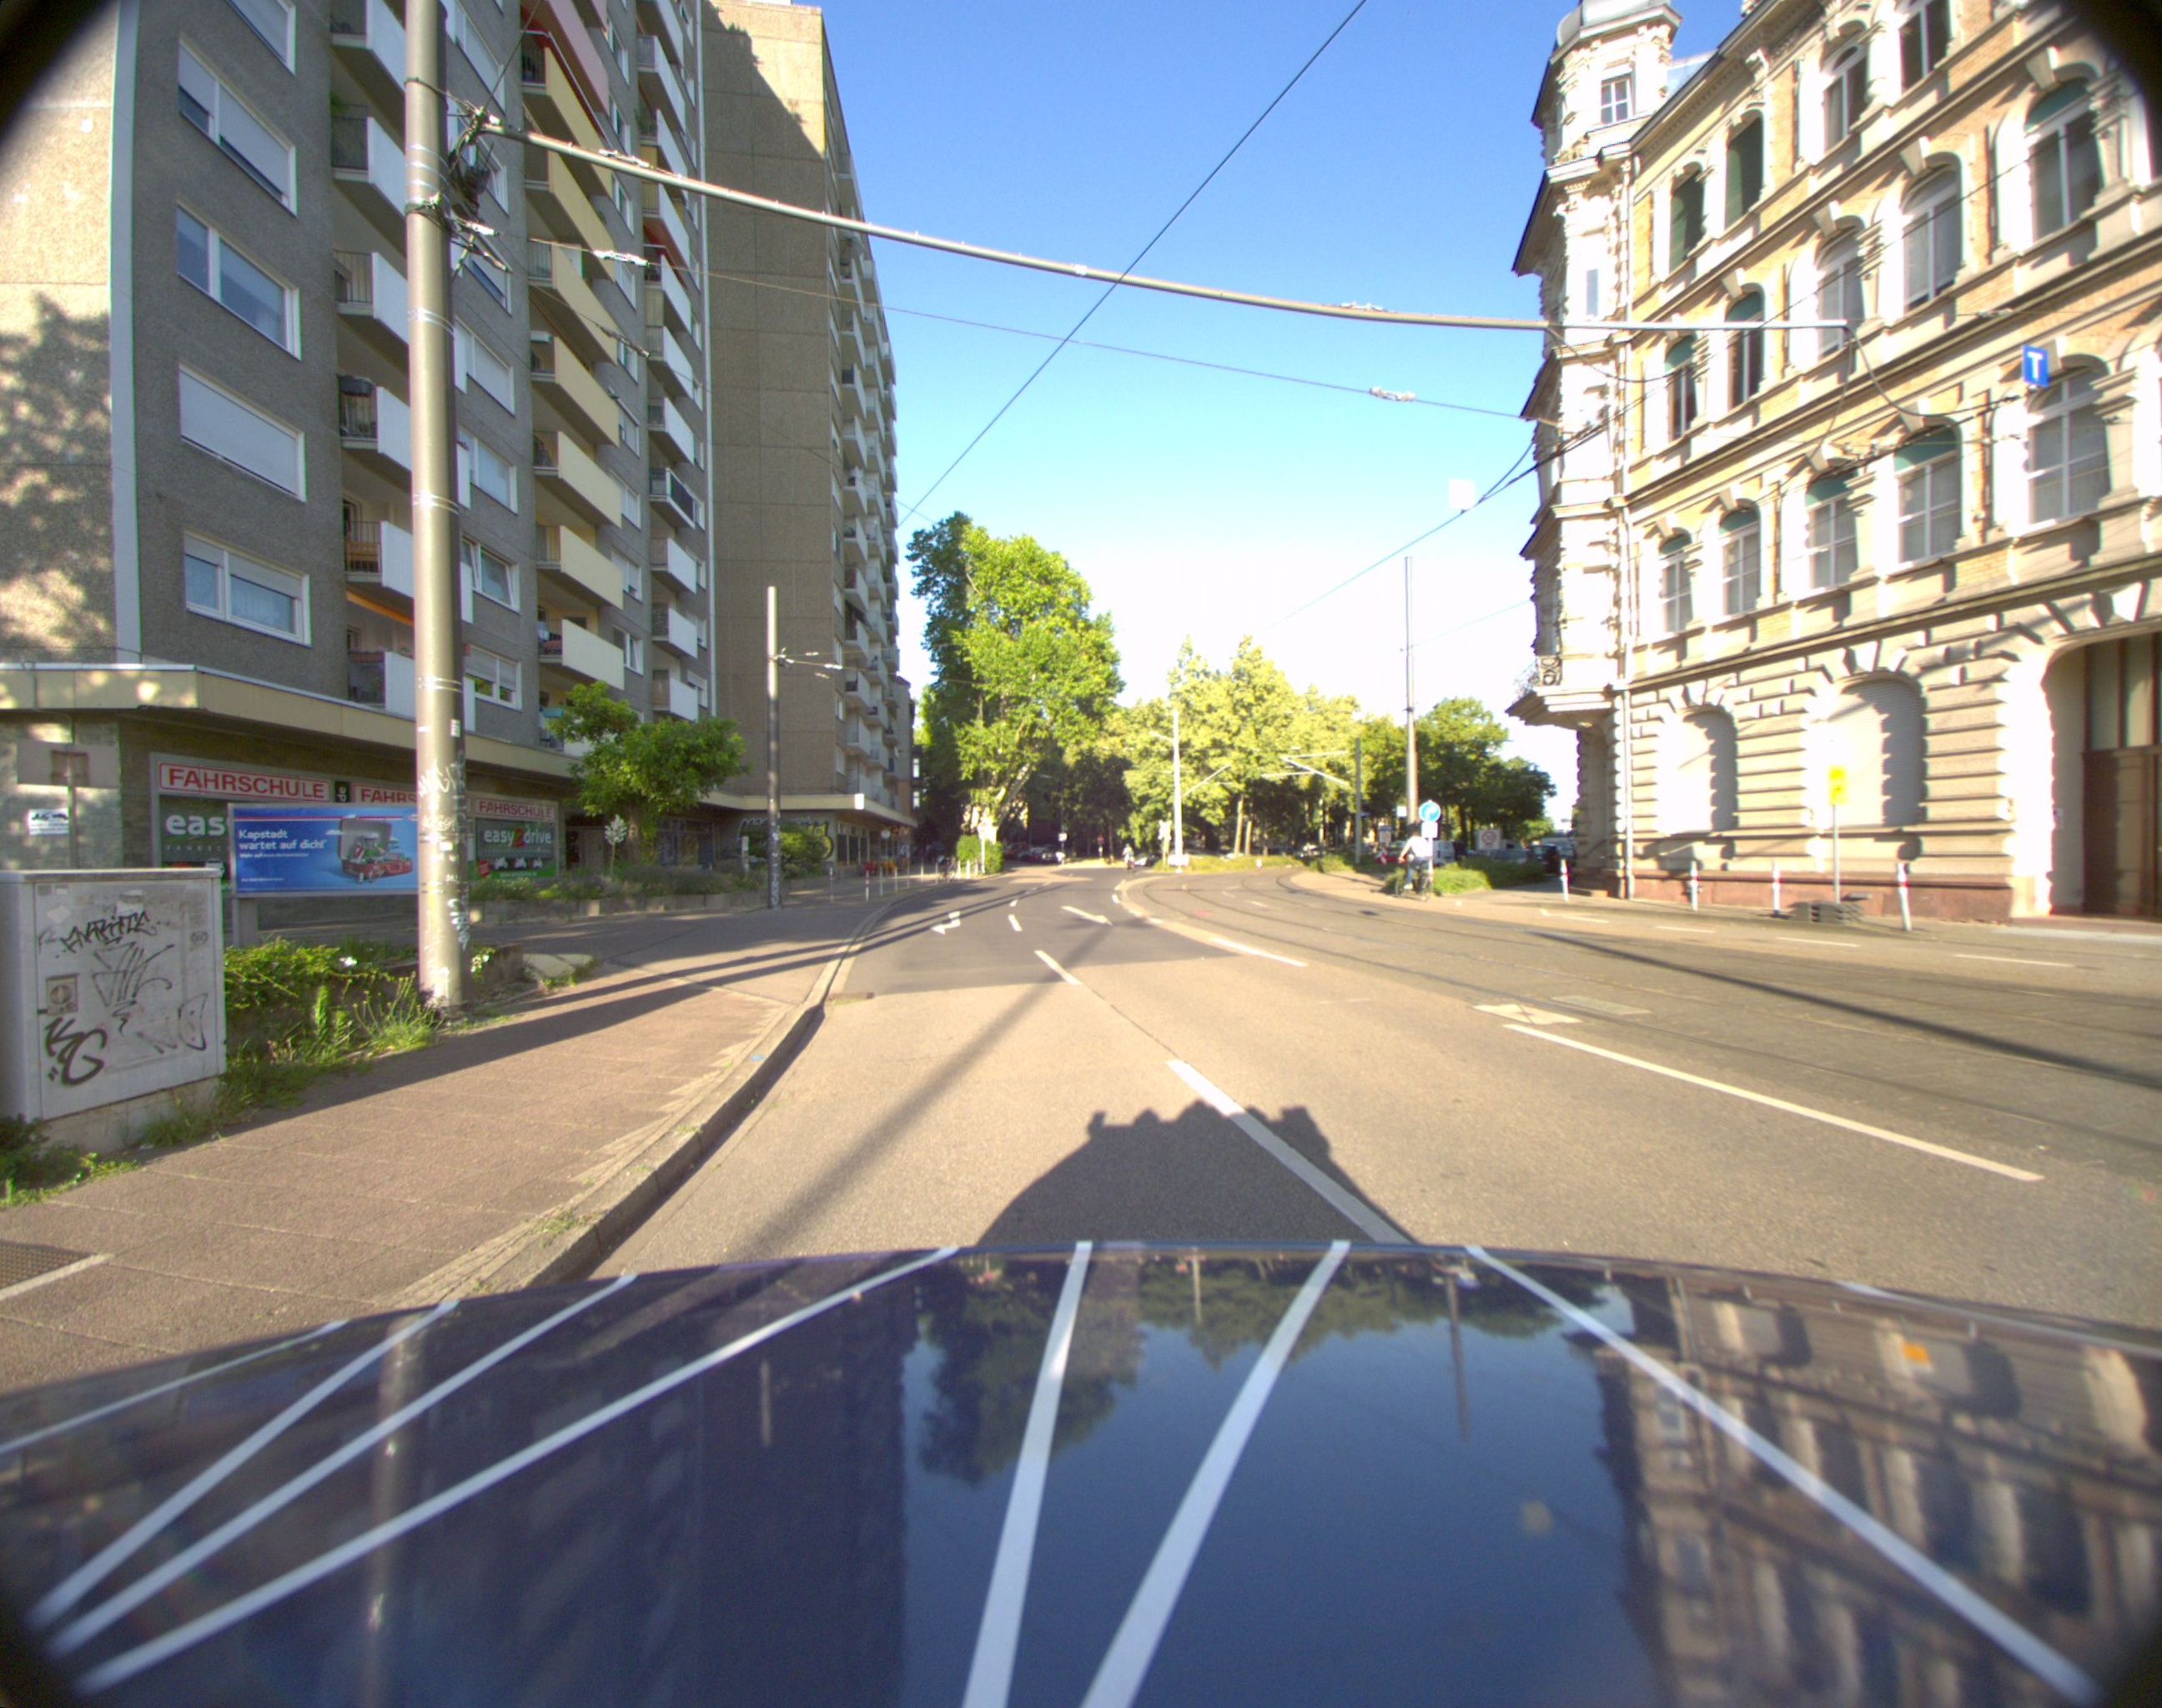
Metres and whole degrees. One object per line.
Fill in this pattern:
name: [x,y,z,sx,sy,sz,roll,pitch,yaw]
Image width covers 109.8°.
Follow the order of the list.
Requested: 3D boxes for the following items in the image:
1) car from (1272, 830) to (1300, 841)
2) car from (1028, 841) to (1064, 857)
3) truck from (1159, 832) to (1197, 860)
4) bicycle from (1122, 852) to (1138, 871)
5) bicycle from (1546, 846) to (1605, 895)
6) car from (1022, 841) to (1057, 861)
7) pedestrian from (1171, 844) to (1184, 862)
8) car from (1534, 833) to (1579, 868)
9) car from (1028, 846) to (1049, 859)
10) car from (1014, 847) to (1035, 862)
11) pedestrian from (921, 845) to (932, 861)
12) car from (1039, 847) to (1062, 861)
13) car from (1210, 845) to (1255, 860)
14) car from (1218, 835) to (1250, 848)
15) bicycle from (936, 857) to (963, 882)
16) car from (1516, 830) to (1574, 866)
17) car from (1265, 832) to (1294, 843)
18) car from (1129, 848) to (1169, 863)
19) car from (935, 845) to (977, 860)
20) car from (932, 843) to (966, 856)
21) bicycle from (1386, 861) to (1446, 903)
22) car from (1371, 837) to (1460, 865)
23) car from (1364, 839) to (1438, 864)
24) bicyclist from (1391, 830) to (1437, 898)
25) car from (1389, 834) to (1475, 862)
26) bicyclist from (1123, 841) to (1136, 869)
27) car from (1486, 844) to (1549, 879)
car: [32.759,-2.941,121.555,1.889,1.740,3.989,-1,1,-39]
car: [-4.072,-0.593,88.747,3.929,1.751,1.533,-1,1,-17]
truck: [10.027,-0.821,78.254,1.994,2.767,4.893,0,1,33]
bicycle: [3.193,0.496,49.733,0.611,1.168,1.950,-1,1,-8]
bicycle: [13.859,0.430,21.266,2.693,1.259,0.643,-1,1,-40]
car: [-4.972,-0.376,90.982,3.929,2.392,1.533,-1,1,-17]
pedestrian: [9.220,-0.099,72.697,0.890,1.758,0.828,-2,1,-35]
car: [28.508,-0.230,45.478,1.994,2.002,4.645,0,1,36]
car: [-4.694,-0.192,83.694,1.536,1.440,3.921,-1,1,-14]
car: [-7.263,0.066,97.303,1.773,1.846,4.222,-1,1,-16]
pedestrian: [-19.717,-0.139,97.009,1.214,2.002,1.205,-1,1,-15]
car: [-3.171,-0.015,78.474,1.742,1.440,3.626,-1,1,-14]
car: [13.511,-0.143,67.907,1.744,1.346,3.678,-2,1,-42]
car: [21.592,-1.741,107.504,2.003,1.740,4.432,-1,1,-31]
bicycle: [-6.256,0.706,36.353,0.609,1.128,2.281,-1,1,8]
car: [22.316,-0.308,36.470,1.733,1.652,4.008,0,1,41]
car: [31.166,-2.567,119.330,1.889,1.740,3.989,-1,1,-39]
car: [6.657,0.141,73.887,1.945,1.390,4.008,0,1,40]
car: [-12.737,-0.175,77.582,4.002,1.499,1.883,-1,1,-16]
car: [-16.382,-0.543,94.374,4.002,1.499,1.883,-1,1,-16]
bicycle: [9.229,0.749,21.018,0.728,1.077,2.117,-1,0,1]
car: [22.003,-0.198,50.190,2.004,1.778,5.045,-1,1,-37]
car: [20.356,-0.145,48.475,1.872,1.499,3.989,-1,1,-37]
bicyclist: [9.227,0.281,21.092,0.729,1.829,1.212,-1,0,1]
car: [24.228,-0.407,52.593,2.004,1.798,5.045,-1,1,-37]
bicyclist: [3.193,0.058,49.668,0.607,1.753,1.060,-1,1,-8]
car: [19.065,0.288,33.143,1.733,1.406,3.441,0,1,41]
